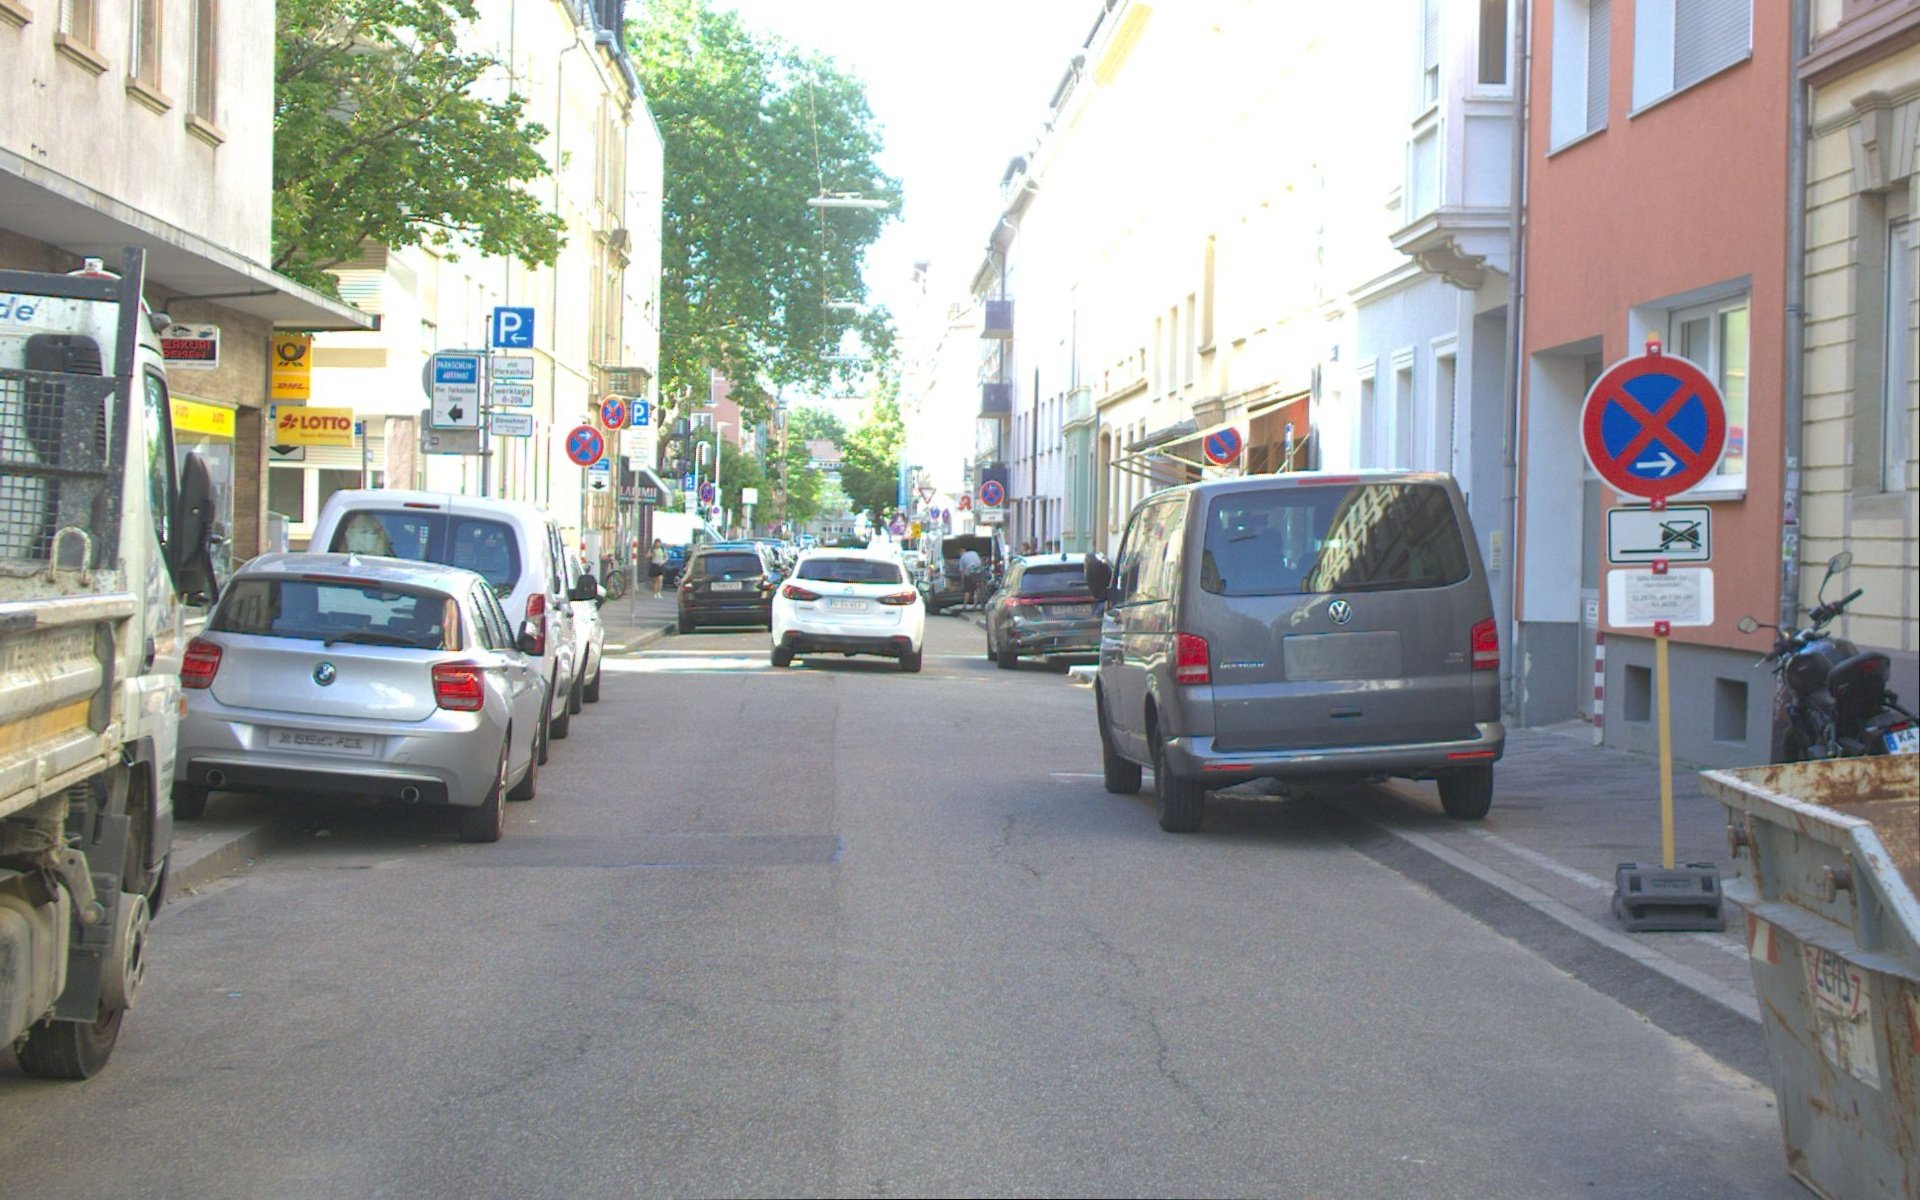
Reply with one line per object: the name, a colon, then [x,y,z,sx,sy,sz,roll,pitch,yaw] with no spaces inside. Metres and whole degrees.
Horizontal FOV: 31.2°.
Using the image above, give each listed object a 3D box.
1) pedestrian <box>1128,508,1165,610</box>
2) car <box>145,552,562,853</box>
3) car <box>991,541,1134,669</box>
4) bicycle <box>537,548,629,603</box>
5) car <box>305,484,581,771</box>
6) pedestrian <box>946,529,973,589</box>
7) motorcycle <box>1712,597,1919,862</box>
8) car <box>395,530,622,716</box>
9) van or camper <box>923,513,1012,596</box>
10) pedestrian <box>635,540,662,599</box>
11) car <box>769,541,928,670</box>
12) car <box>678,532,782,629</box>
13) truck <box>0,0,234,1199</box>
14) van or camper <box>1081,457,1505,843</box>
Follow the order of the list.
pedestrian: [3.186,-0.694,58.641,0.528,1.721,0.489,1,0,14]
car: [-3.194,0.471,18.809,1.758,1.411,4.001,-1,1,-3]
car: [1.305,0.033,45.076,1.647,1.571,3.679,1,1,-1]
bicycle: [-8.070,-0.521,73.636,1.949,1.111,0.512,1,1,-36]
car: [-3.625,0.143,24.647,1.647,1.861,4.001,1,1,-4]
pedestrian: [-0.022,-1.003,84.108,0.627,1.459,0.575,1,0,-2]
motorcycle: [4.526,0.618,17.777,0.596,1.182,2.760,-3,1,0]
car: [-4.063,0.163,31.409,1.647,1.571,3.679,1,1,-1]
van or camper: [0.153,-1.077,82.687,1.993,1.919,4.000,1,0,-2]
pedestrian: [-7.859,-0.770,86.846,0.627,1.459,0.575,1,0,-2]
car: [-1.338,0.028,42.271,1.834,1.481,4.057,1,1,-1]
car: [-3.988,-0.365,60.069,1.624,1.591,3.580,2,1,-2]
truck: [-3.024,0.033,7.681,2.156,2.581,6.251,0,0,-6]
van or camper: [1.852,0.230,20.535,1.775,2.029,4.571,-1,1,-4]
